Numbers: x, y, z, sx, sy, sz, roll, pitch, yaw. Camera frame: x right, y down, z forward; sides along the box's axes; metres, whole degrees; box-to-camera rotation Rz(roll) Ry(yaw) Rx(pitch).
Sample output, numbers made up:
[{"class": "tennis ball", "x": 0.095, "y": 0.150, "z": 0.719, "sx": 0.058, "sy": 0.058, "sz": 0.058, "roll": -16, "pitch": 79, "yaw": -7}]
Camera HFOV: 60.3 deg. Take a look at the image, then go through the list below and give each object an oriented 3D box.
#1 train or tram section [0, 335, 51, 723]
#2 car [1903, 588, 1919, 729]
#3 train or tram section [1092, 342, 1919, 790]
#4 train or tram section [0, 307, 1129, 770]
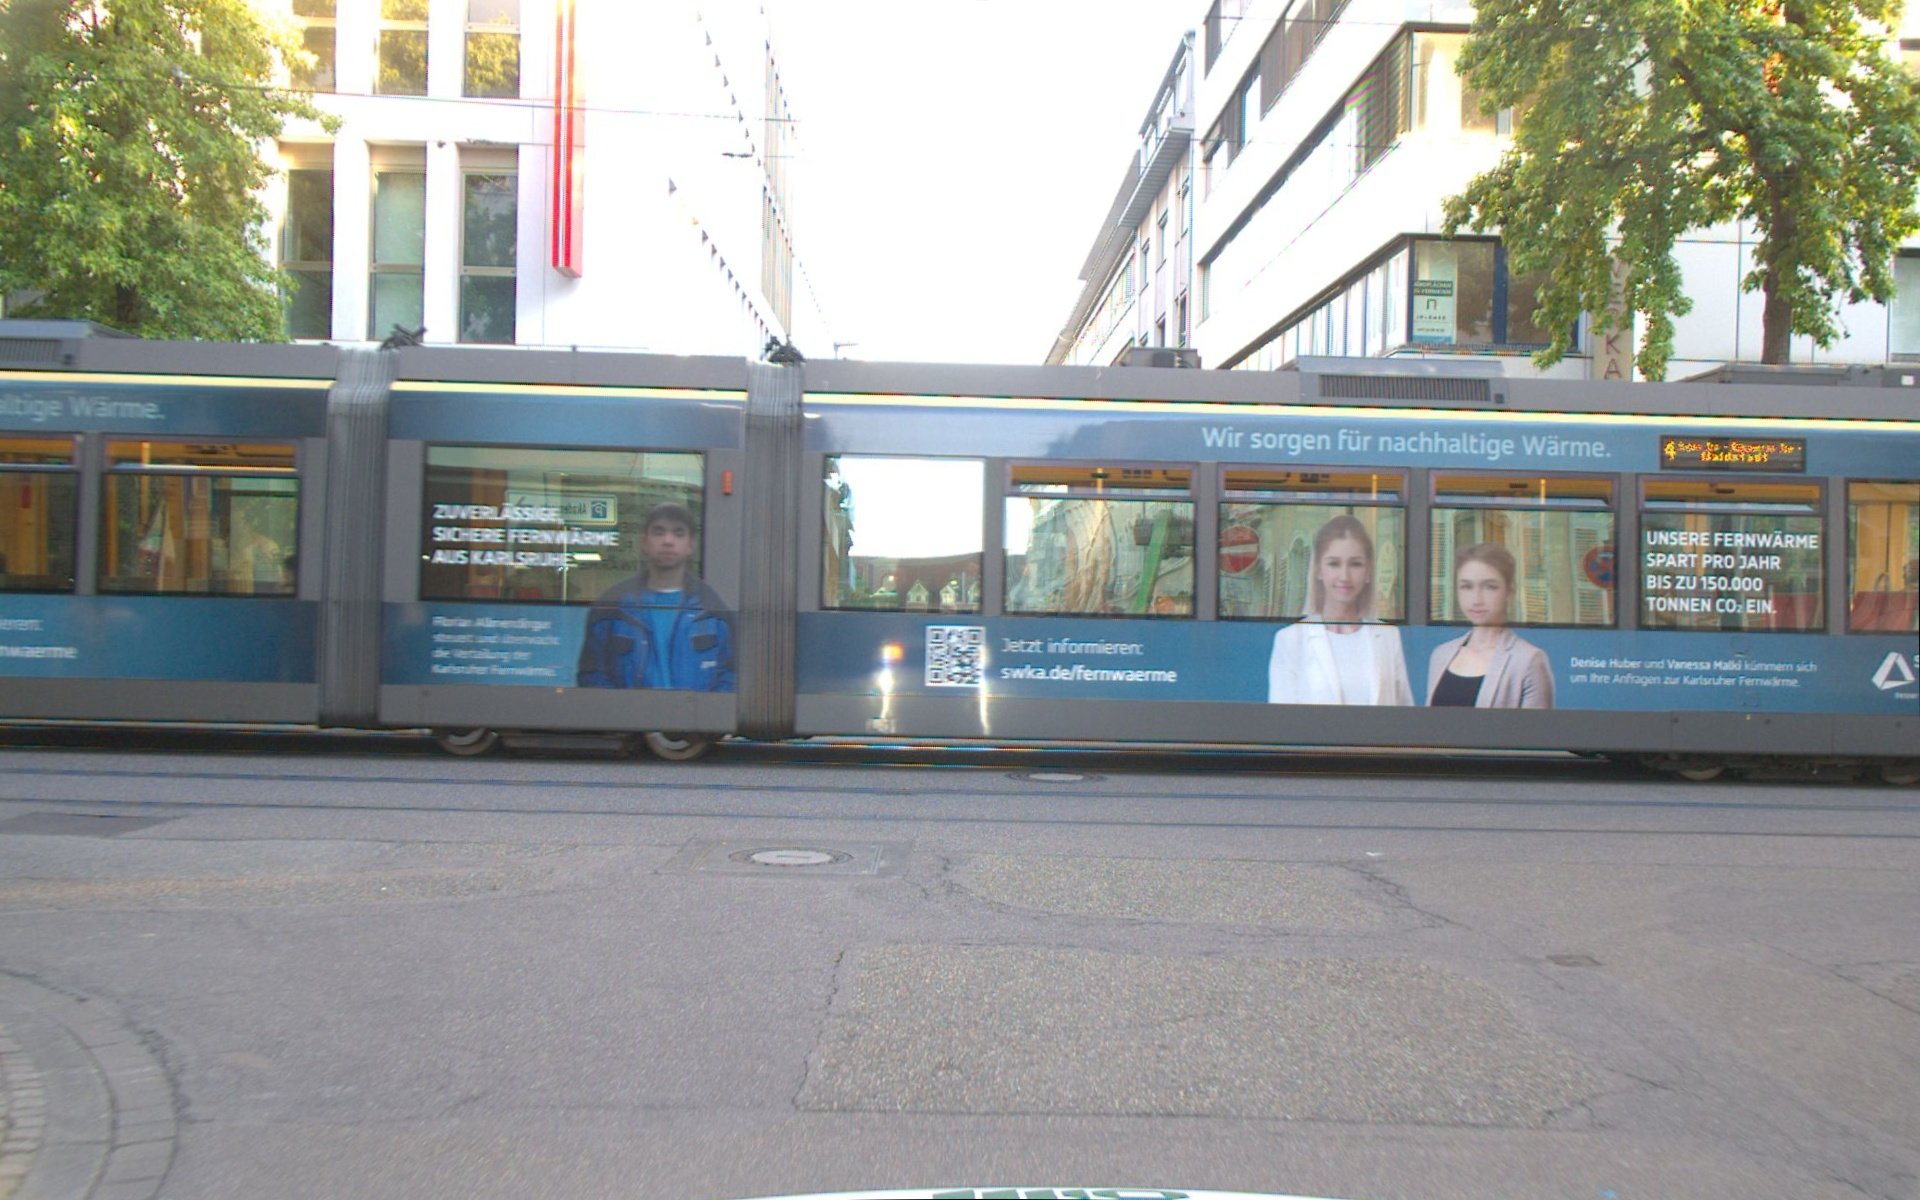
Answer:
[{"class": "train or tram section", "x": -14.144, "y": -0.721, "z": 14.438, "sx": 10.590, "sy": 3.585, "sz": 3.012, "roll": 1, "pitch": 0, "yaw": -2}, {"class": "car", "x": 14.625, "y": 0.834, "z": 20.612, "sx": 4.559, "sy": 1.801, "sz": 2.001, "roll": 1, "pitch": 2, "yaw": 0}, {"class": "train or tram section", "x": 6.412, "y": -0.252, "z": 15.036, "sx": 10.127, "sy": 3.585, "sz": 3.026, "roll": 1, "pitch": 0, "yaw": -2}, {"class": "train or tram section", "x": -3.753, "y": -0.473, "z": 14.740, "sx": 10.157, "sy": 3.585, "sz": 3.016, "roll": 1, "pitch": -1, "yaw": -2}]
